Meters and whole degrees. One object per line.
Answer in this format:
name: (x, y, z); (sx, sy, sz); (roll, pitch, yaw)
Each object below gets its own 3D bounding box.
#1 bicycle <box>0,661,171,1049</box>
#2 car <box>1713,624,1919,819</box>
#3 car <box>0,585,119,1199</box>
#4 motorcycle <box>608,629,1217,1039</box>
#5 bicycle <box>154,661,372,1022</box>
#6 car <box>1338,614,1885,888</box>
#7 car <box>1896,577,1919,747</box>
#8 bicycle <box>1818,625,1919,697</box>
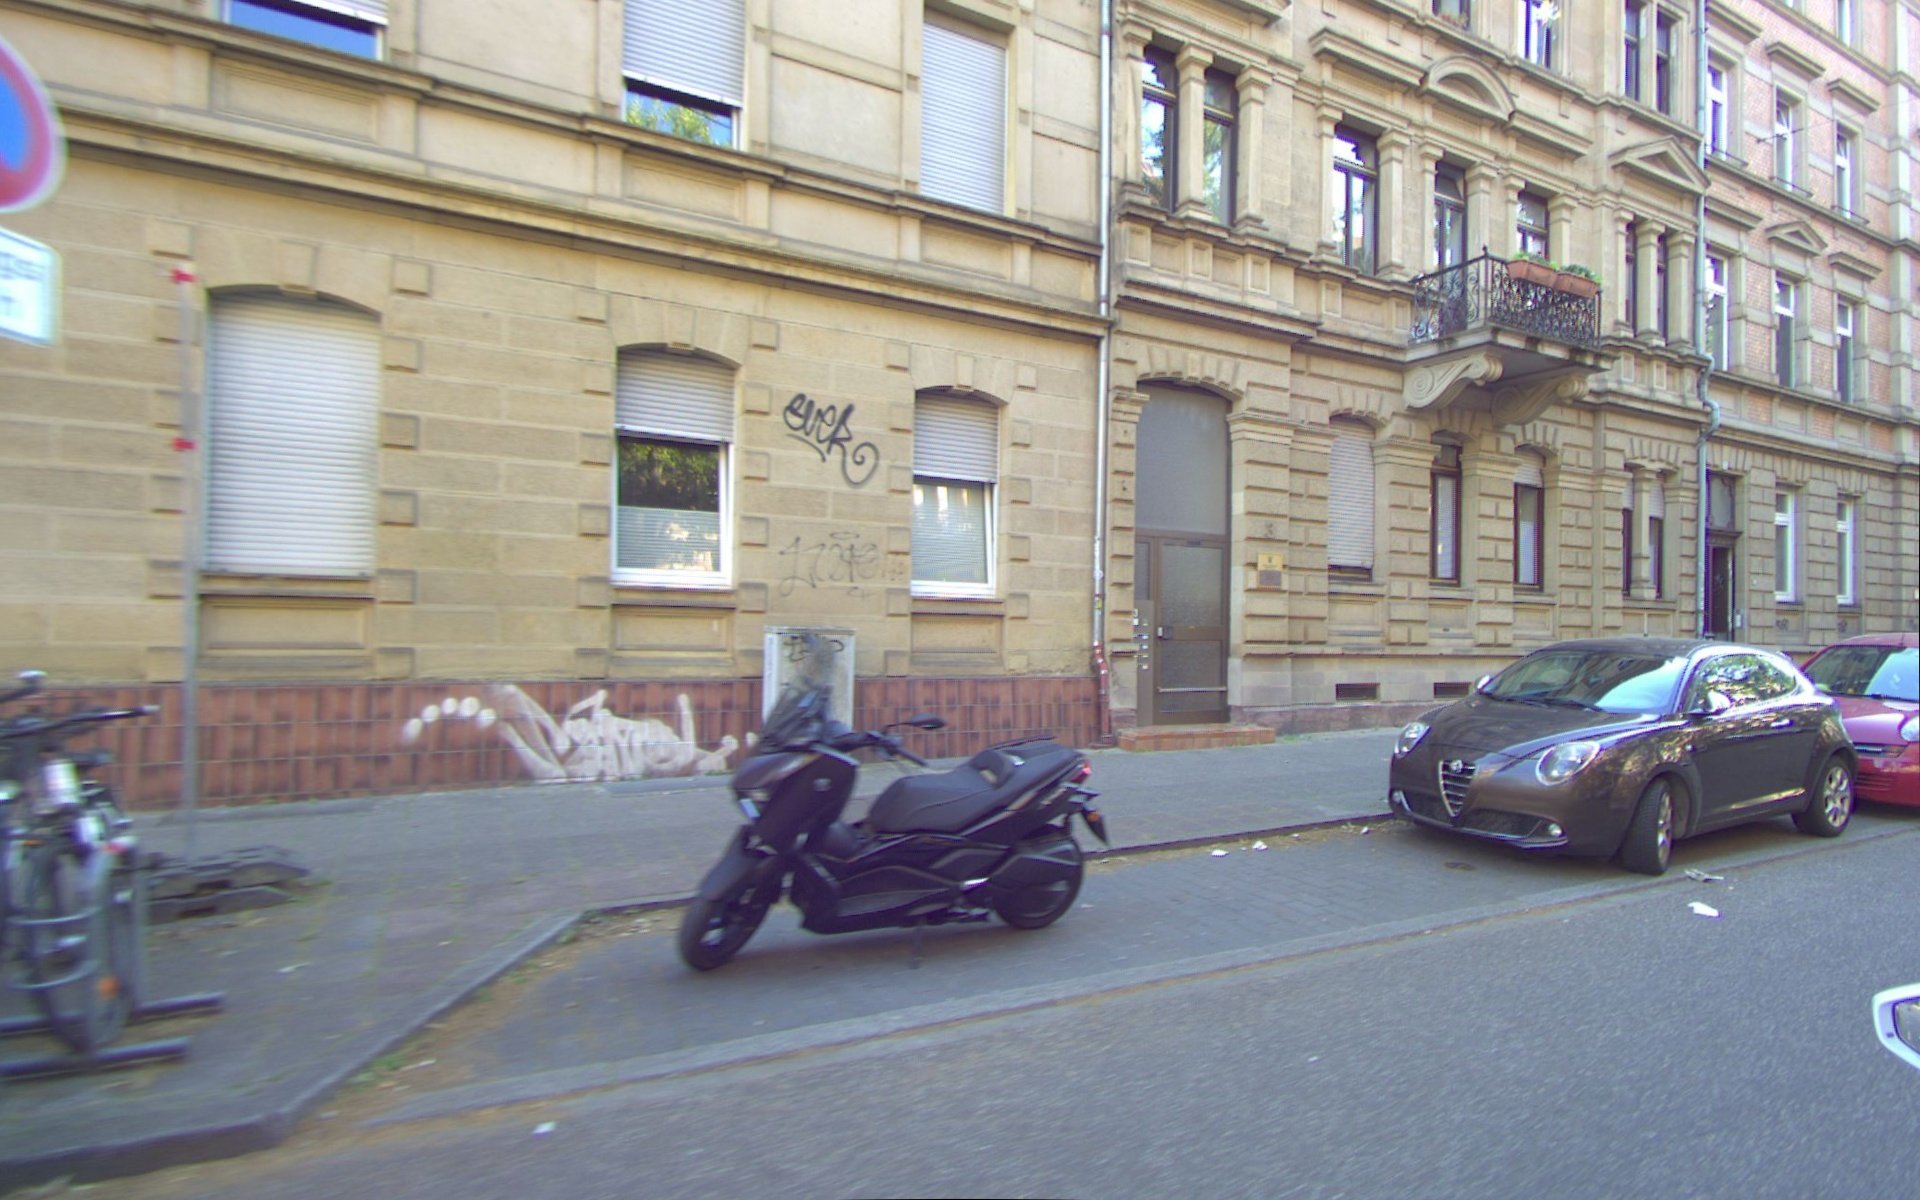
bicycle: (-3.708, 0.873, 3.991); (0.522, 1.143, 1.860); (2, 0, -27)
car: (8.955, 1.011, 9.392); (3.651, 1.495, 1.587); (1, 0, -26)
car: (-3.696, 0.691, 1.005); (4.005, 1.520, 1.754); (1, -2, -25)
motorcycle: (-0.155, 0.844, 4.579); (2.576, 1.388, 1.061); (1, -1, -31)
bicycle: (-2.986, 0.900, 4.452); (0.522, 1.143, 1.860); (2, 0, -27)
car: (4.922, 0.913, 7.503); (4.010, 1.521, 1.751); (1, 0, -29)
car: (13.707, 0.770, 12.218); (5.195, 1.969, 1.824); (1, 0, -29)
bicycle: (17.162, 1.112, 18.813); (2.792, 1.272, 0.737); (1, 0, -29)
